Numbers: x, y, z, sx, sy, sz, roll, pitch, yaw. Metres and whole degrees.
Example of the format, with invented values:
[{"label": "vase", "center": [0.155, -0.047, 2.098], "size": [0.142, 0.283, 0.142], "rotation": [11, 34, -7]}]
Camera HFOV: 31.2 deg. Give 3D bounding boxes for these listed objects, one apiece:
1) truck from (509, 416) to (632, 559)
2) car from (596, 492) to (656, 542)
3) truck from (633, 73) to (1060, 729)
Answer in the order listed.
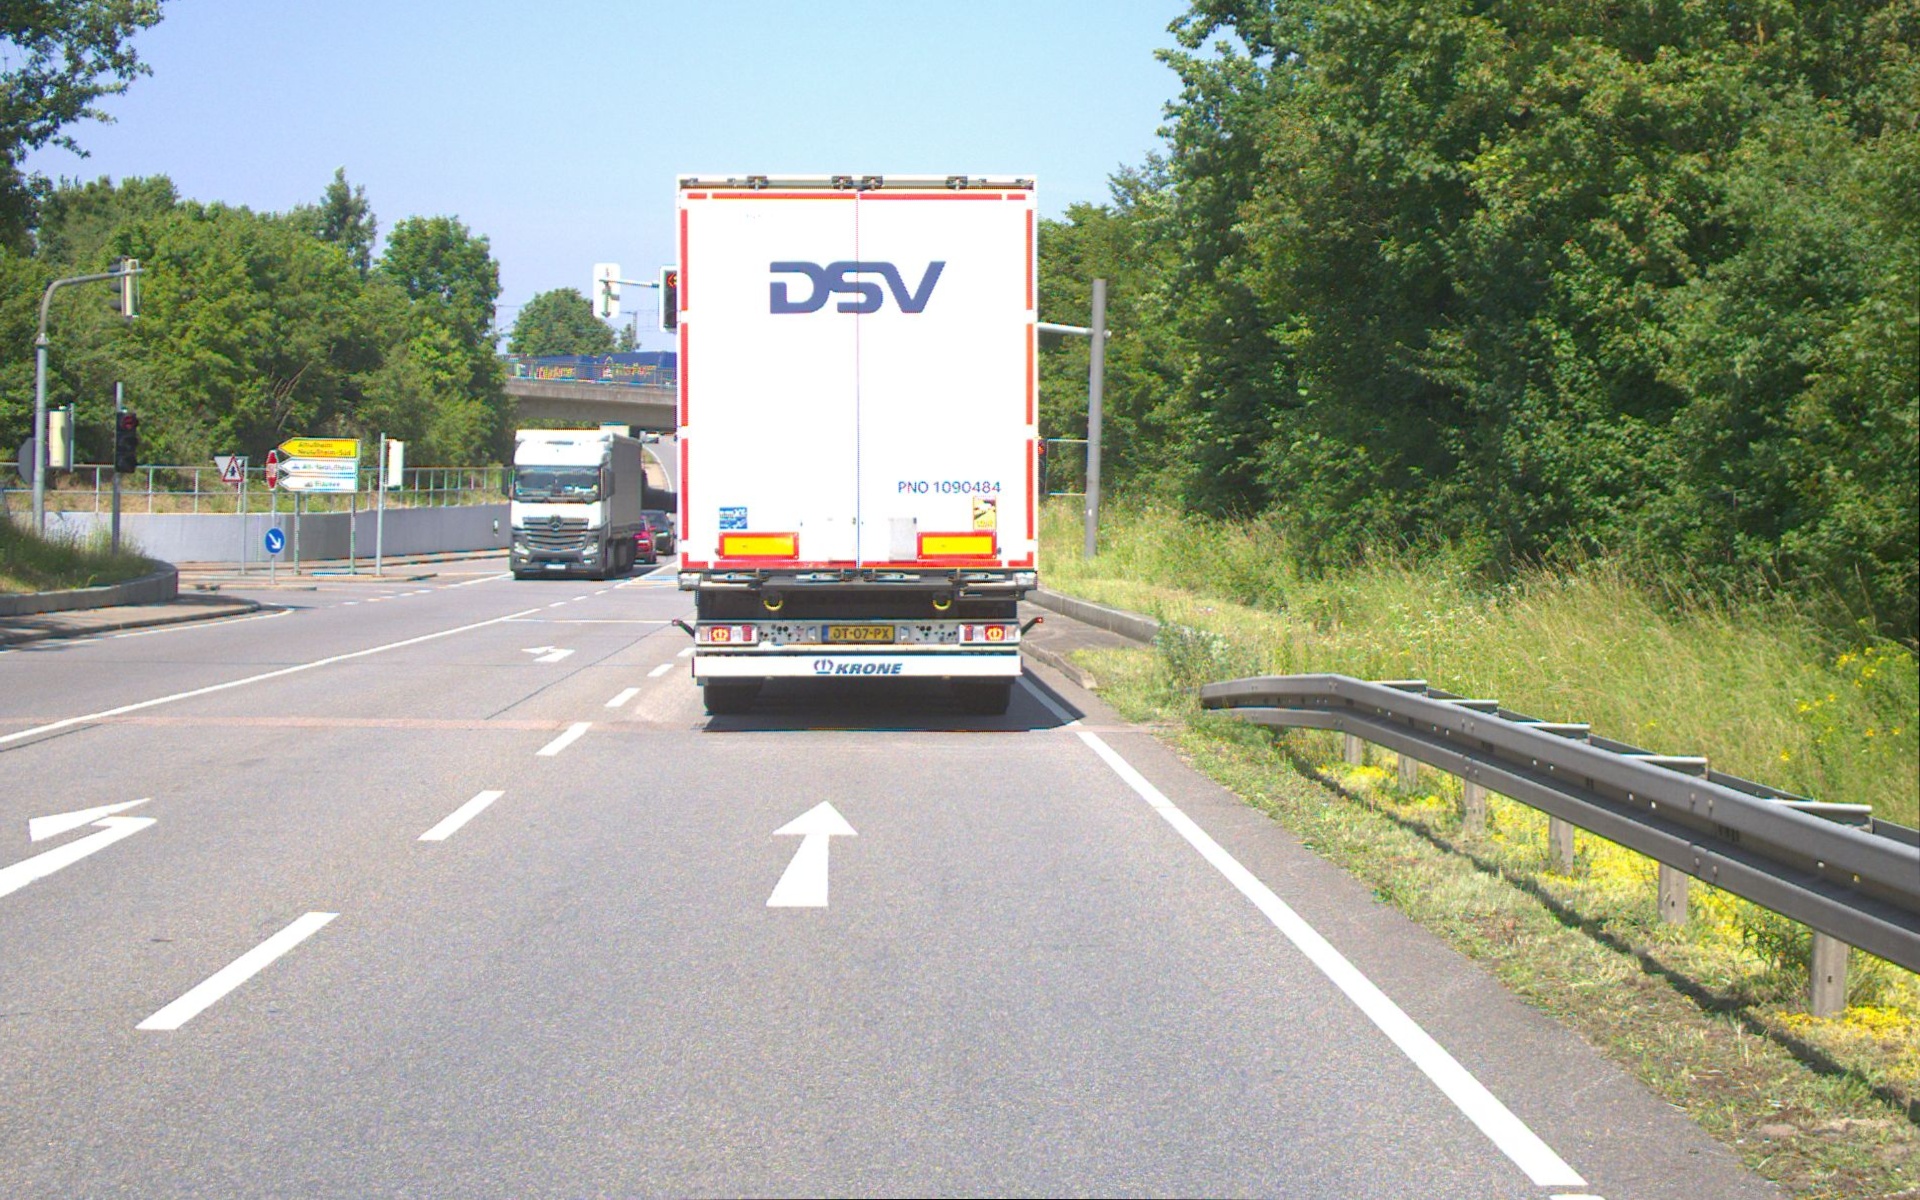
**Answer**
[{"label": "truck", "center": [-10.825, -3.143, 96.536], "size": [2.353, 3.737, 12.627], "rotation": [0, 2, -2]}, {"label": "car", "center": [-11.056, -2.755, 113.945], "size": [1.747, 1.620, 3.704], "rotation": [0, 2, -2]}, {"label": "truck", "center": [-0.951, -1.492, 28.926], "size": [2.949, 4.553, 9.864], "rotation": [0, 1, -2]}]
